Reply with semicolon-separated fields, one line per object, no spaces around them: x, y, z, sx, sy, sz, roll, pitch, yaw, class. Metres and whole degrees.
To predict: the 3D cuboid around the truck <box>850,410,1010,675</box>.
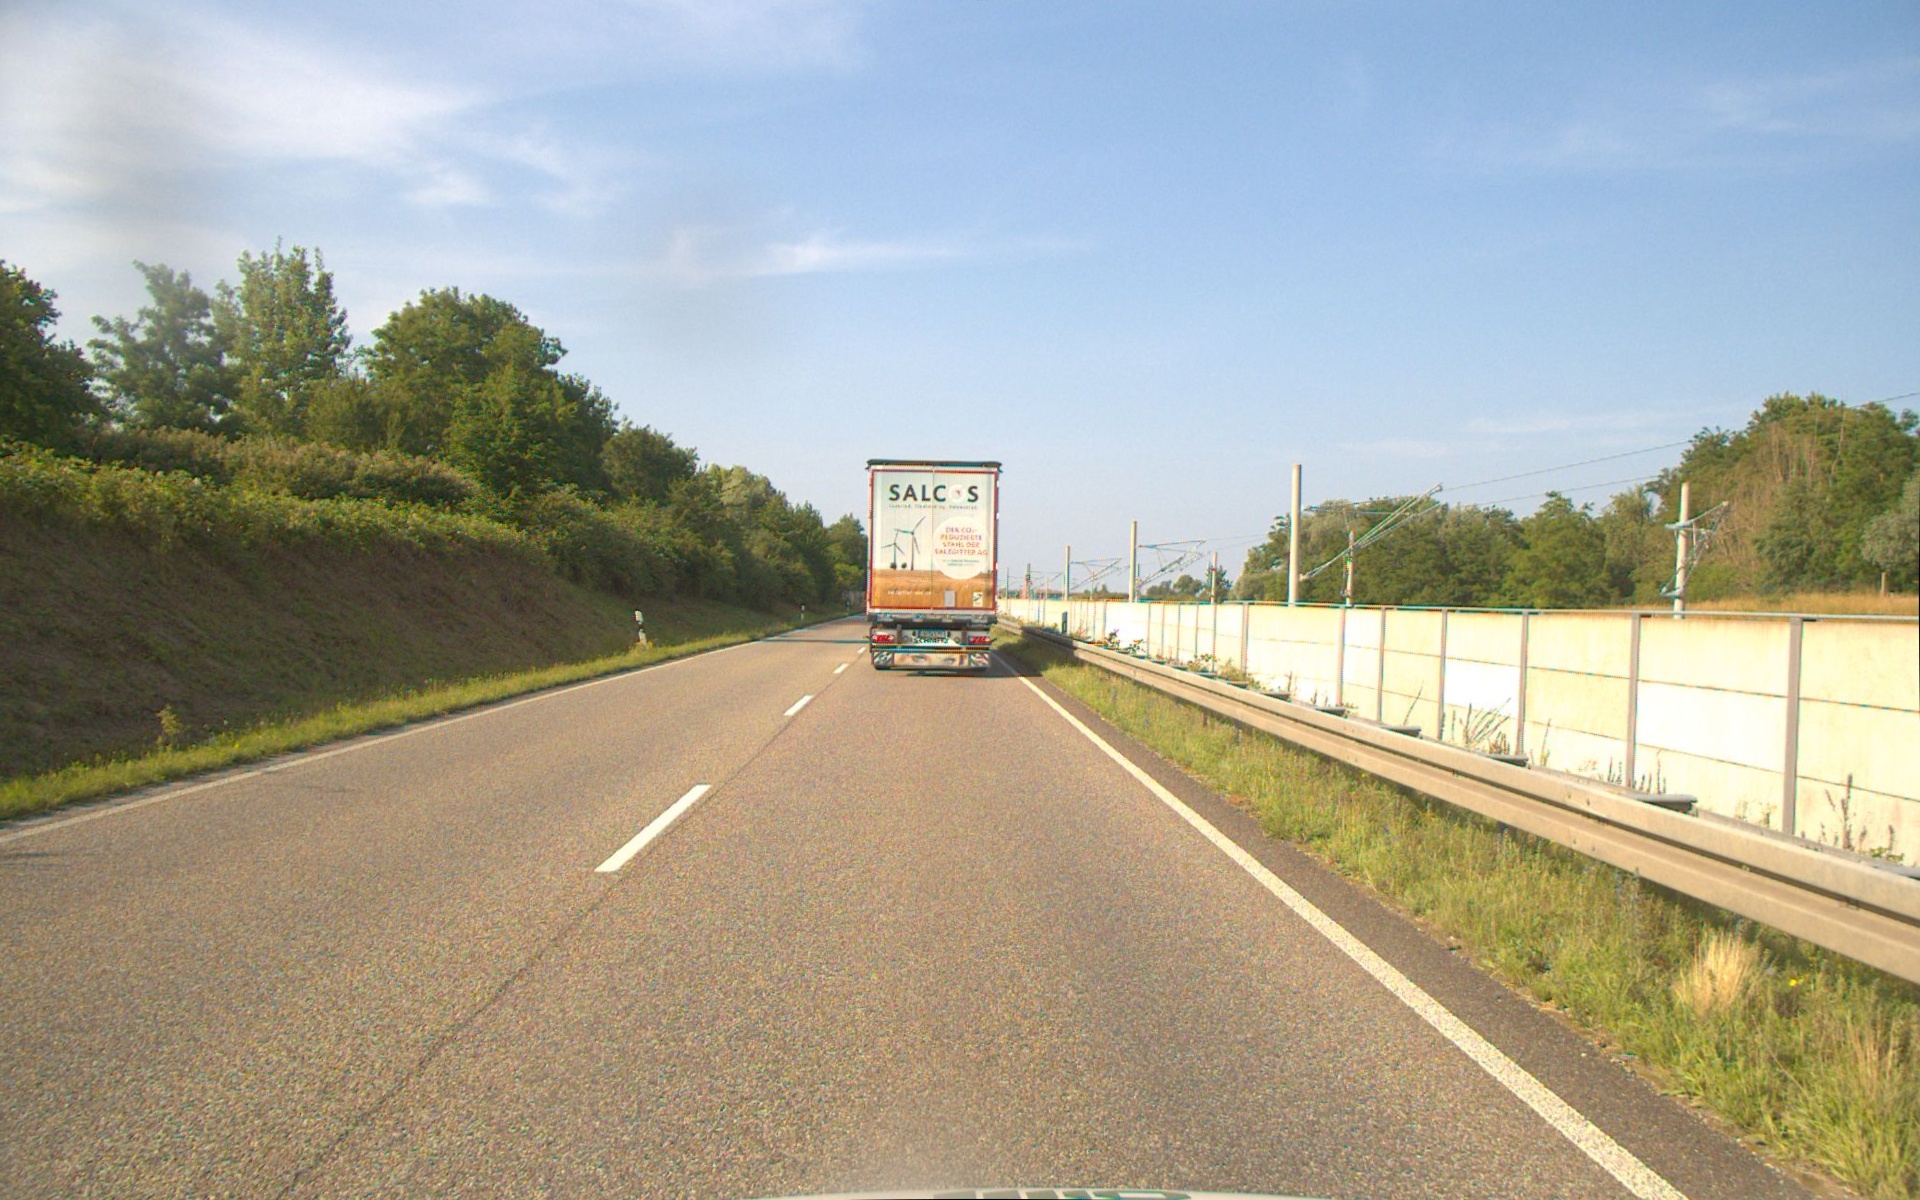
-0.807;-1.091;37.389;2.972;5.006;11.678;1;0;-2;truck
